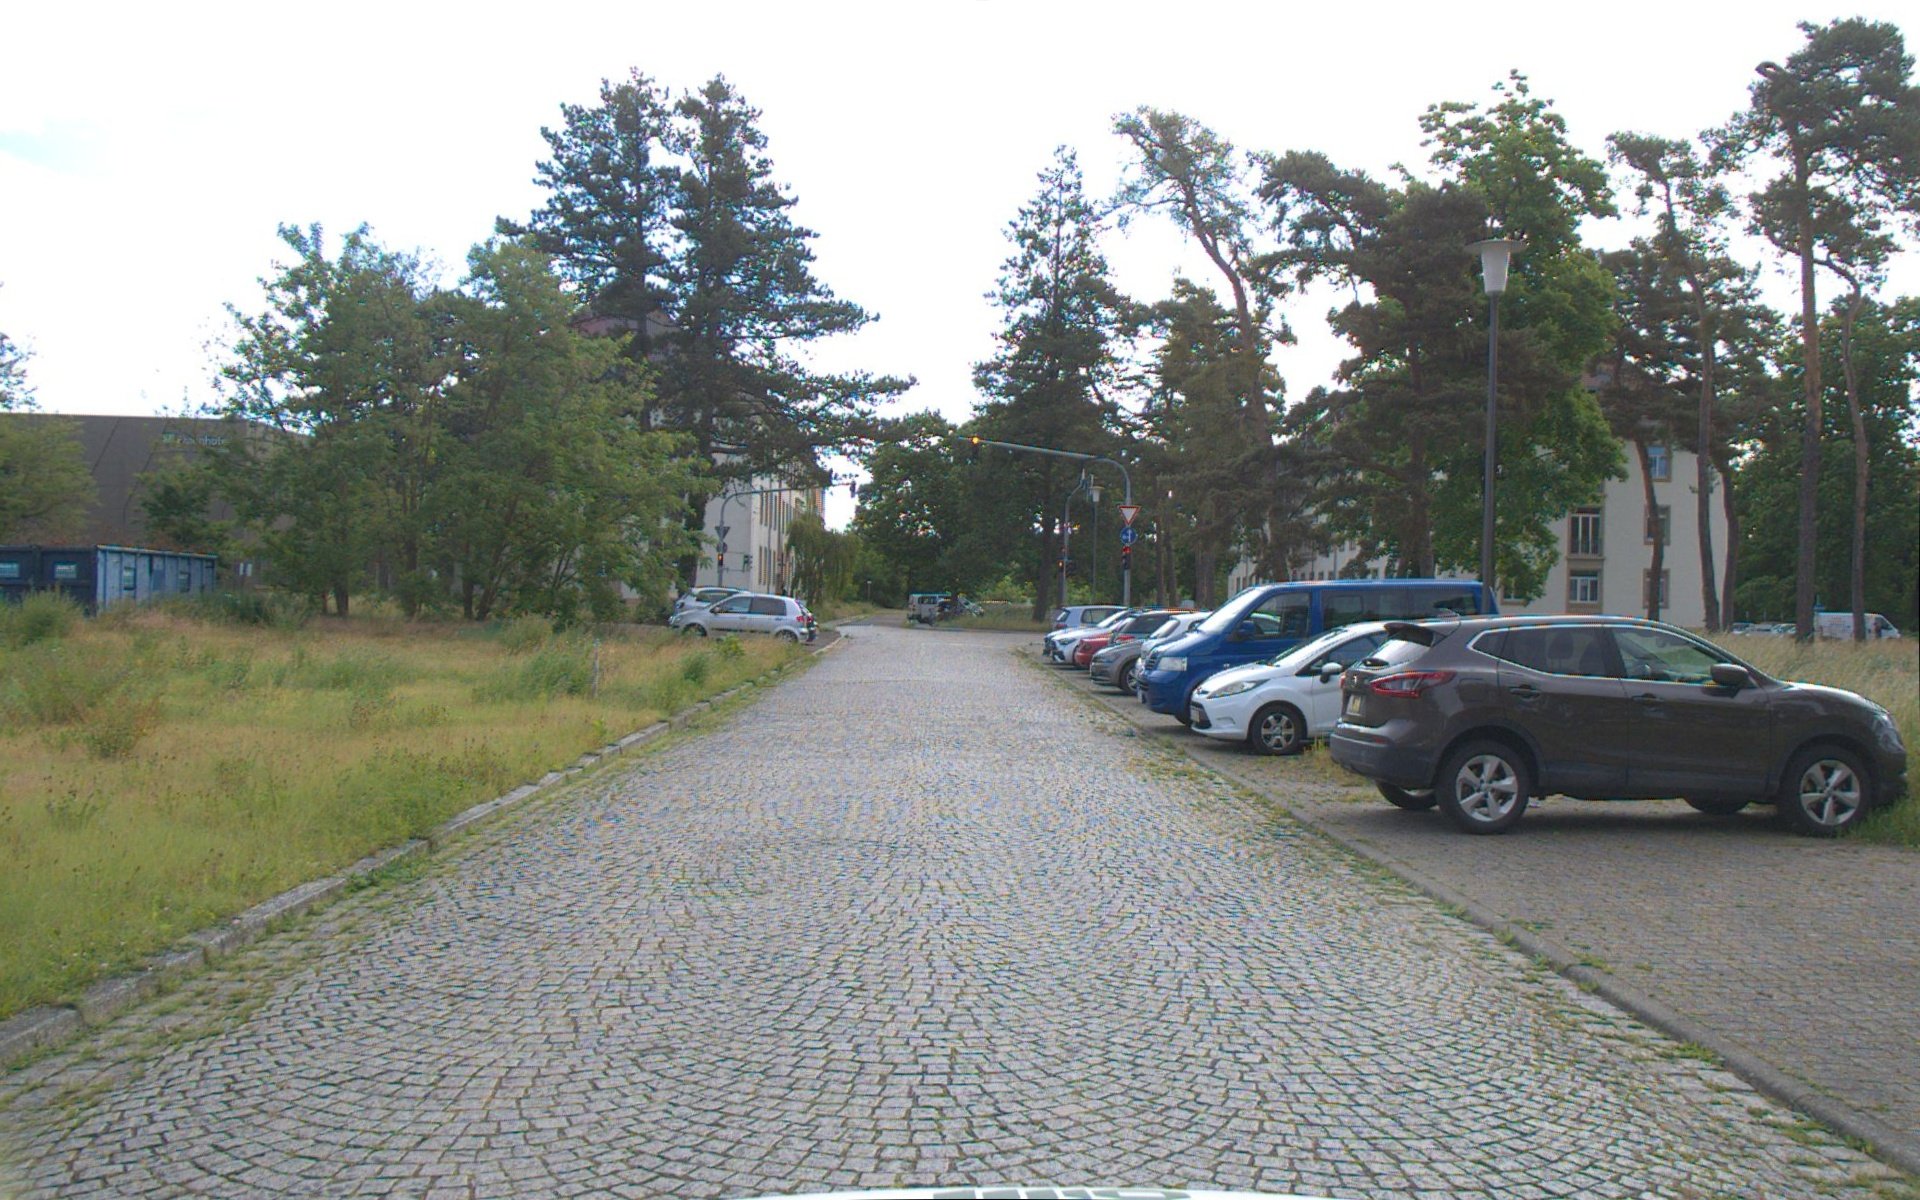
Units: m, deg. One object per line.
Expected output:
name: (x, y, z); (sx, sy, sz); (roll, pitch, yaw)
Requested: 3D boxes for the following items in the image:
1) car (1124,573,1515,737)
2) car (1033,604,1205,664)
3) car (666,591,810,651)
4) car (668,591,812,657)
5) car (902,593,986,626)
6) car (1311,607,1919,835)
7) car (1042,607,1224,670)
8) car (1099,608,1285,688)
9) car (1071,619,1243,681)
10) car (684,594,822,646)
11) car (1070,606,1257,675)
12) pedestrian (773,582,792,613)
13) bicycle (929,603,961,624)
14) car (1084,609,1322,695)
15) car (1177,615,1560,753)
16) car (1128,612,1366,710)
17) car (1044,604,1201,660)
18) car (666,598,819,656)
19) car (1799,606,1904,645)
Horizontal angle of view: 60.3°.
car: (4.657, 0.700, 21.853); (4.700, 2.039, 1.965); (0, 0, -4)
car: (4.123, 0.880, 43.018); (4.154, 1.505, 1.704); (0, 0, -12)
car: (-6.642, 0.614, 49.729); (4.216, 1.762, 1.650); (0, 0, -7)
car: (-5.863, 0.634, 44.349); (3.648, 1.506, 1.672); (4, 0, -4)
car: (-1.101, 0.649, 112.350); (5.284, 2.138, 2.171); (1, 0, -14)
car: (5.047, 0.886, 12.961); (4.120, 1.623, 1.952); (0, 0, -4)
car: (4.171, 0.931, 40.252); (4.107, 1.462, 1.752); (0, 0, -9)
car: (4.577, 0.935, 32.932); (3.434, 1.513, 1.742); (0, 0, -2)
car: (4.194, 1.055, 35.547); (3.513, 1.244, 1.628); (0, 0, 0)
car: (-6.518, 0.621, 52.187); (4.216, 1.581, 1.809); (0, 0, -8)
car: (4.631, 0.909, 37.903); (4.023, 1.502, 1.683); (0, 0, -3)
pedestrian: (-11.791, -0.178, 109.743); (1.052, 1.993, 1.121); (3, -1, -1)
bicycle: (-0.904, 0.841, 101.046); (1.846, 1.191, 0.664); (3, -1, -7)
car: (4.350, 0.924, 30.058); (4.046, 1.472, 1.765); (0, 0, -1)
car: (4.691, 0.950, 19.308); (4.017, 1.504, 1.720); (0, 0, -5)
car: (4.653, 0.980, 27.162); (3.579, 1.504, 1.765); (0, 0, -2)
car: (4.458, 0.877, 45.581); (4.056, 1.489, 1.631); (0, 0, -7)
car: (-6.152, 0.748, 46.938); (4.216, 1.581, 1.809); (0, 0, -8)
car: (53.940, 1.517, 100.108); (5.193, 2.055, 2.105); (3, 0, -1)
